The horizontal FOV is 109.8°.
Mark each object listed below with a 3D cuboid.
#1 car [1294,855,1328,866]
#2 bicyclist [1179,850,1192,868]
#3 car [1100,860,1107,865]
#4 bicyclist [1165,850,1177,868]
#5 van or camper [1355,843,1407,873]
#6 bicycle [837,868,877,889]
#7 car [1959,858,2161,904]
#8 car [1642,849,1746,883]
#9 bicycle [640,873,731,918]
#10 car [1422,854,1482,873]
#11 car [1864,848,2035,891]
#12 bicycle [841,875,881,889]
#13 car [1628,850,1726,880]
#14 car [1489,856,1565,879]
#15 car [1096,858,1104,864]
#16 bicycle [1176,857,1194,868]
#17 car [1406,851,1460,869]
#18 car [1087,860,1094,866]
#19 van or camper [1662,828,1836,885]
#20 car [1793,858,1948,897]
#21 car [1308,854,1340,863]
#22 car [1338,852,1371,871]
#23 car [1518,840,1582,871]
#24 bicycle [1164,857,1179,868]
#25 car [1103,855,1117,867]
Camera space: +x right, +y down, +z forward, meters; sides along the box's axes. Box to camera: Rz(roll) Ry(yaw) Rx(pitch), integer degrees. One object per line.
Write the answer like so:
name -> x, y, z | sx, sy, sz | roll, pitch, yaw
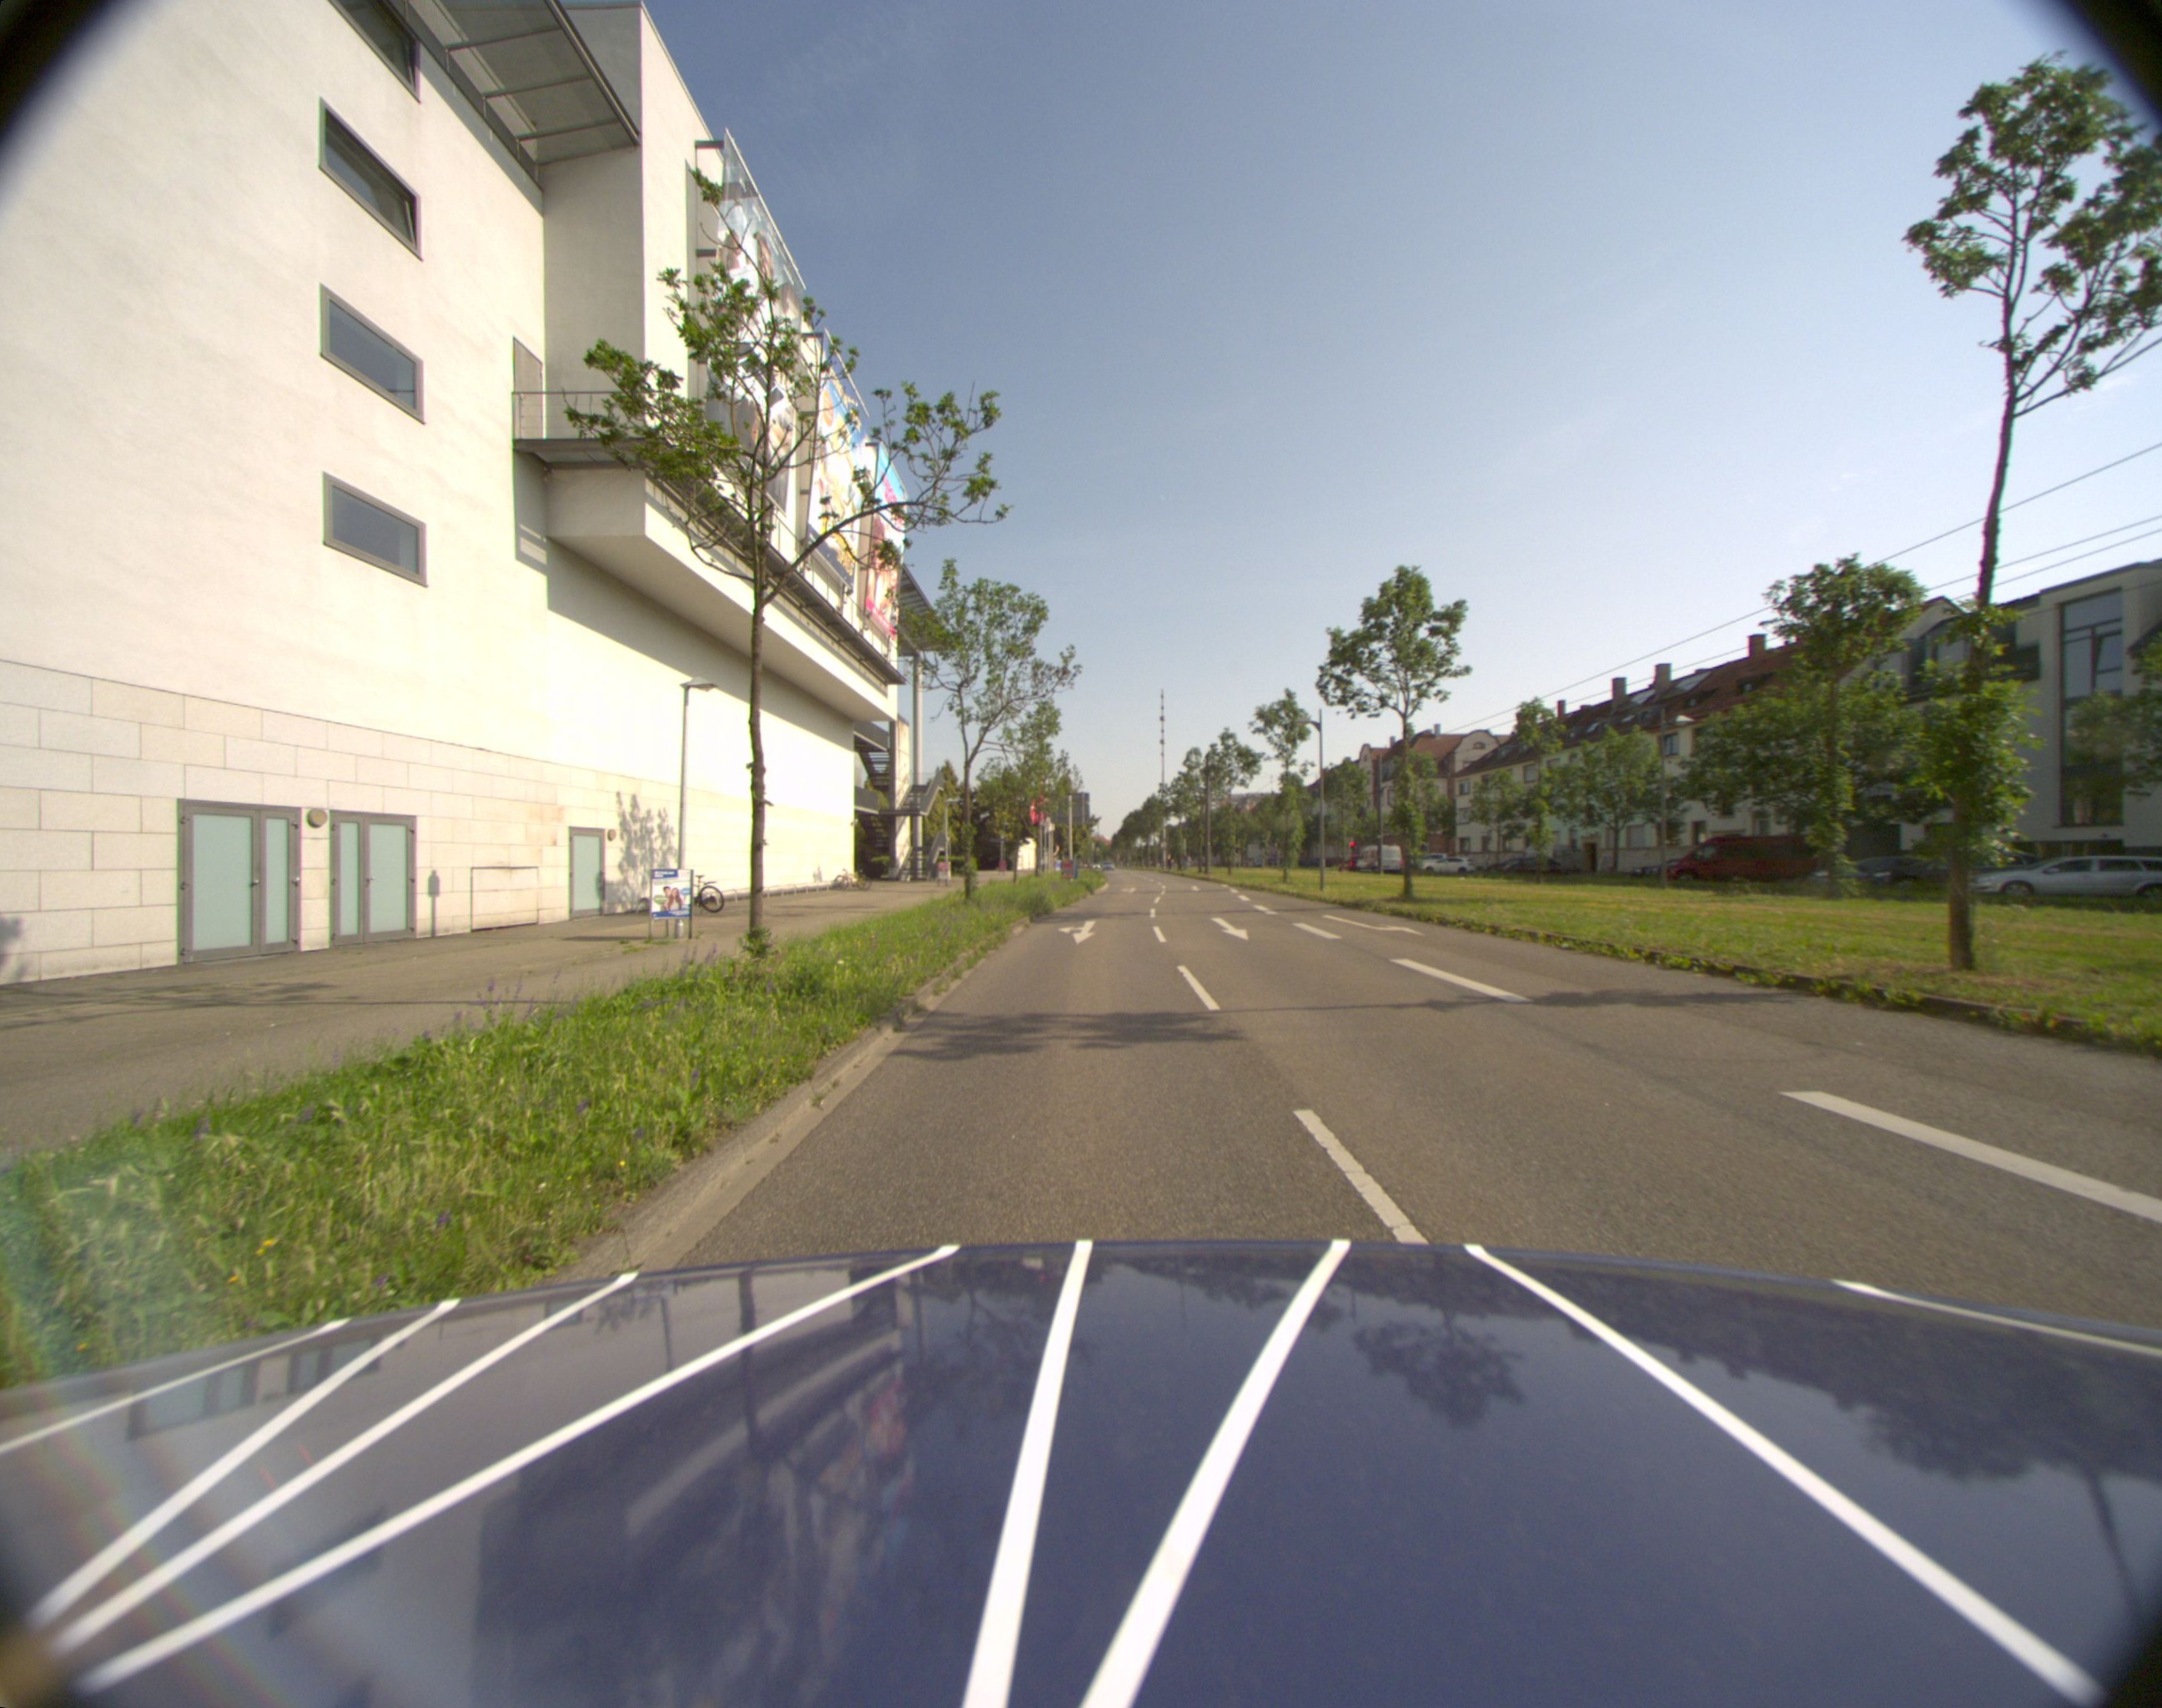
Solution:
car -> 34.328, 0.939, 113.375 | 4.503, 1.432, 2.004 | -2, 0, 32
bicyclist -> 11.367, 0.554, 82.420 | 1.185, 1.839, 0.912 | -2, 0, 19
car -> 6.377, 2.452, 219.244 | 1.998, 1.652, 4.000 | 0, 0, 1
bicyclist -> 9.481, 0.536, 79.707 | 0.873, 1.812, 0.905 | -1, 1, -45
van or camper -> 26.496, 0.353, 67.348 | 2.147, 2.459, 6.059 | 1, 0, 0
bicycle -> -10.103, 1.113, 34.302 | 1.661, 0.910, 0.482 | 0, 0, 1
car -> 31.031, 0.843, 23.749 | 4.387, 1.312, 1.737 | -2, 0, 34
car -> 31.896, 0.638, 39.642 | 4.141, 1.607, 1.872 | -1, 3, 39
bicycle -> -10.125, 1.060, 19.488 | 2.013, 1.096, 0.676 | 0, 0, 5
car -> 32.005, 0.818, 65.598 | 4.354, 1.466, 1.861 | -2, 0, 38
car -> 30.799, 0.549, 27.107 | 3.711, 1.426, 1.645 | -2, 0, 34
bicycle -> -10.108, 1.271, 34.939 | 1.661, 0.641, 0.538 | 0, 0, 1
car -> 32.708, 0.613, 41.773 | 4.141, 1.501, 1.872 | -1, 3, 39
car -> 31.239, 0.969, 53.274 | 4.338, 1.521, 2.004 | -2, 0, 40
car -> 4.733, 1.710, 187.609 | 1.998, 1.652, 4.000 | 0, 0, 1
bicycle -> 11.280, 0.924, 82.322 | 1.789, 1.139, 0.577 | -2, 0, 18
car -> 31.761, 0.575, 68.647 | 4.088, 1.520, 1.816 | -2, 0, 38
car -> 2.724, 2.553, 221.073 | 1.998, 1.652, 4.000 | 0, 0, 1
van or camper -> 31.850, 0.160, 36.576 | 6.144, 2.532, 2.419 | -1, 0, 38
car -> 31.129, 0.918, 30.142 | 3.989, 1.412, 1.785 | -2, 0, 36
car -> 33.352, 0.630, 104.126 | 3.840, 1.121, 1.772 | -2, 0, 32
car -> 26.641, 0.725, 74.115 | 1.820, 1.727, 4.162 | 1, 0, 2
car -> 39.118, 0.137, 63.565 | 1.998, 2.448, 5.578 | -2, 0, 2
bicycle -> 9.476, 0.864, 79.643 | 1.756, 1.139, 0.575 | -1, 1, -43
car -> 4.290, 1.057, 112.595 | 1.998, 1.652, 4.000 | 0, 0, 1
